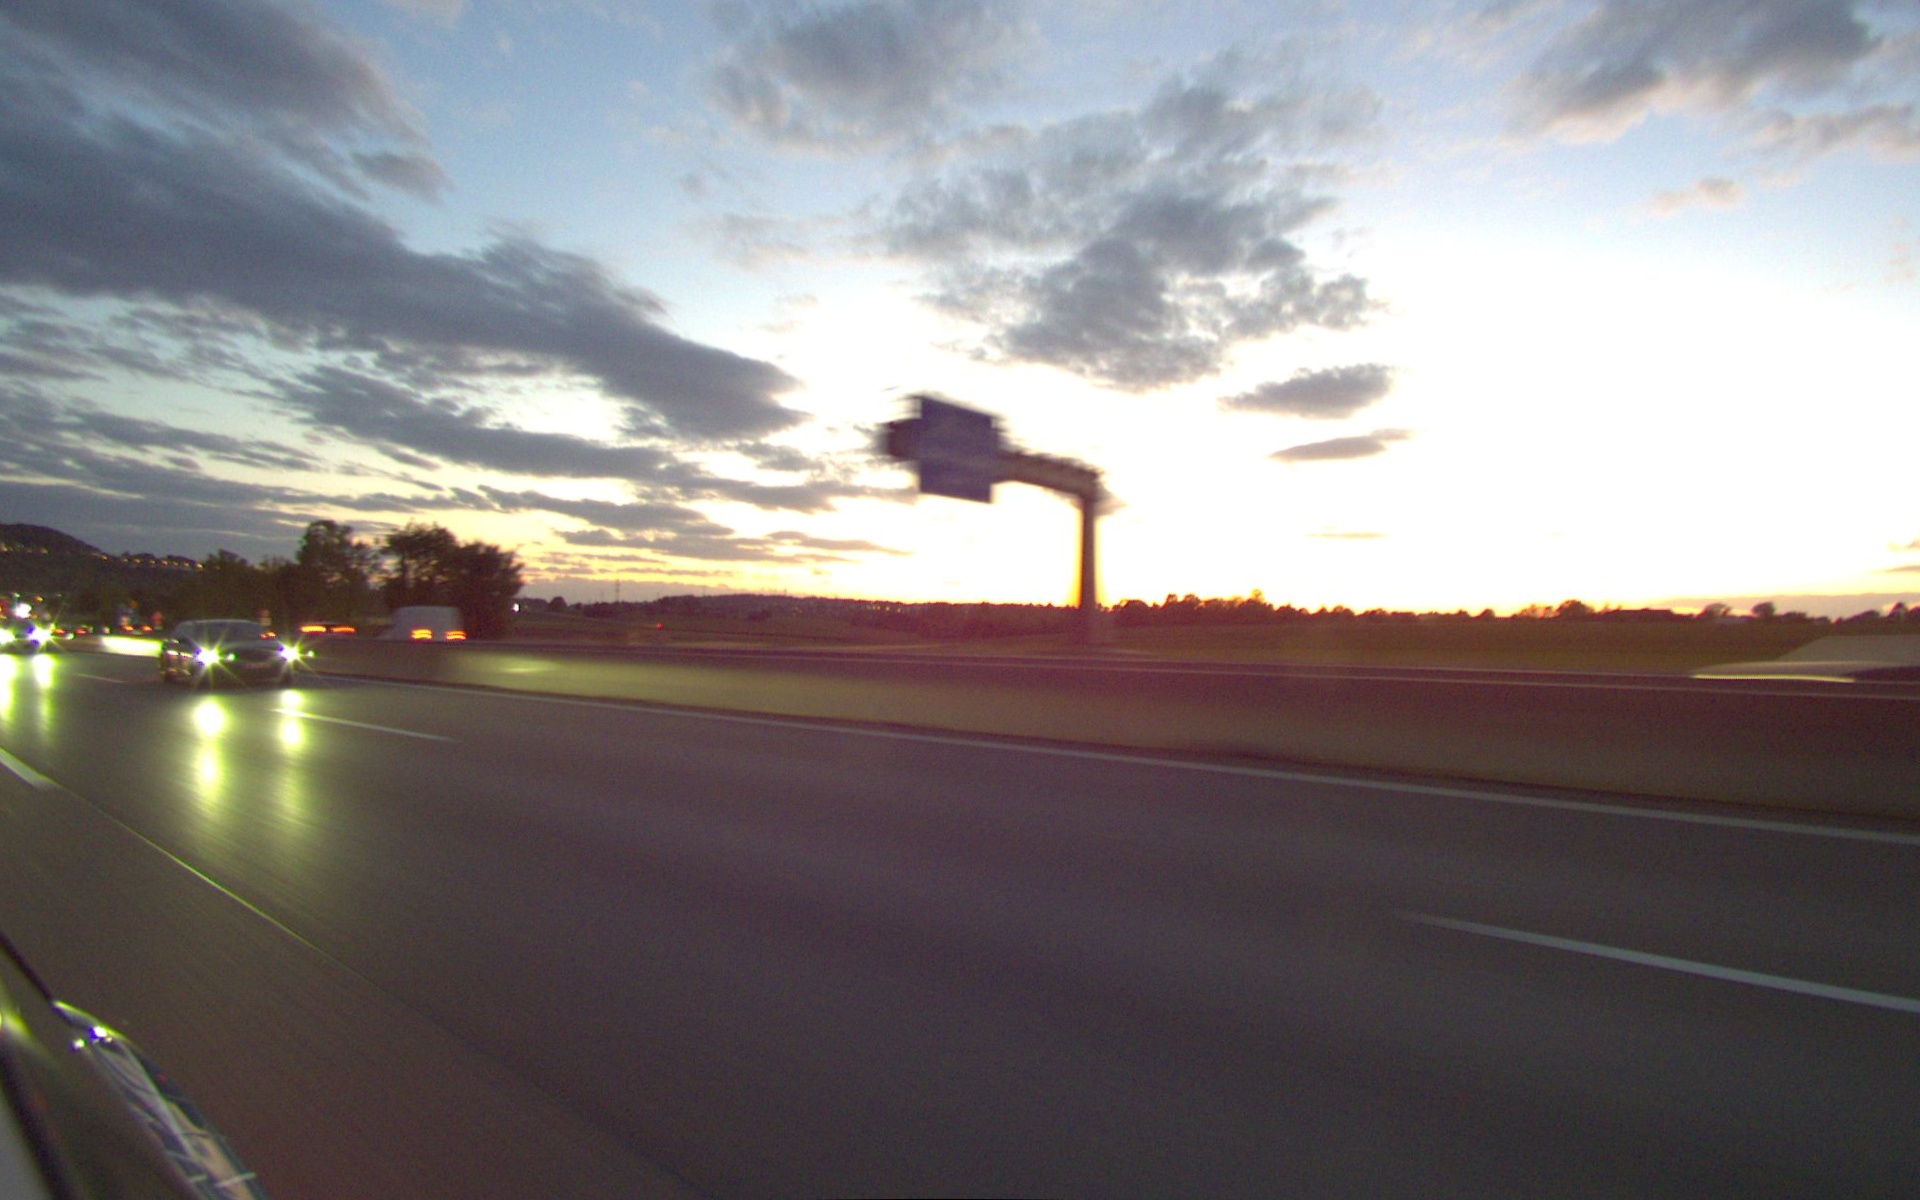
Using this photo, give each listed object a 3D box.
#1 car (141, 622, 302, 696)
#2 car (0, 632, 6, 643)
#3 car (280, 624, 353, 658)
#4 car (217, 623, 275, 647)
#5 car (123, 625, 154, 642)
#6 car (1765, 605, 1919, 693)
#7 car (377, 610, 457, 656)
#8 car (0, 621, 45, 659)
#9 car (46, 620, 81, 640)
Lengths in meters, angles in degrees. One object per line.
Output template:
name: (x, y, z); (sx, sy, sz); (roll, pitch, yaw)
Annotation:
car: (-17.021, 1.269, 23.213); (5.391, 1.448, 1.796); (-1, 0, 41)
car: (-135.978, 5.275, 142.638); (4.272, 1.465, 1.841); (-1, 0, 41)
car: (-28.521, 1.774, 44.833); (3.898, 1.380, 1.714); (-1, 0, 41)
car: (-45.523, 2.216, 64.475); (4.657, 1.423, 1.973); (-1, 0, 41)
car: (-84.422, 3.443, 103.986); (4.792, 1.656, 1.643); (-1, 0, 41)
car: (15.633, 0.752, 15.950); (4.550, 1.329, 1.717); (-1, 0, 41)
car: (-30.225, 1.790, 56.220); (5.833, 2.405, 1.973); (-1, 0, 41)
car: (-45.736, 1.896, 48.826); (4.853, 1.660, 1.796); (-1, 0, 41)
car: (-77.702, 2.571, 87.674); (4.624, 1.629, 1.681); (-1, 0, 41)
